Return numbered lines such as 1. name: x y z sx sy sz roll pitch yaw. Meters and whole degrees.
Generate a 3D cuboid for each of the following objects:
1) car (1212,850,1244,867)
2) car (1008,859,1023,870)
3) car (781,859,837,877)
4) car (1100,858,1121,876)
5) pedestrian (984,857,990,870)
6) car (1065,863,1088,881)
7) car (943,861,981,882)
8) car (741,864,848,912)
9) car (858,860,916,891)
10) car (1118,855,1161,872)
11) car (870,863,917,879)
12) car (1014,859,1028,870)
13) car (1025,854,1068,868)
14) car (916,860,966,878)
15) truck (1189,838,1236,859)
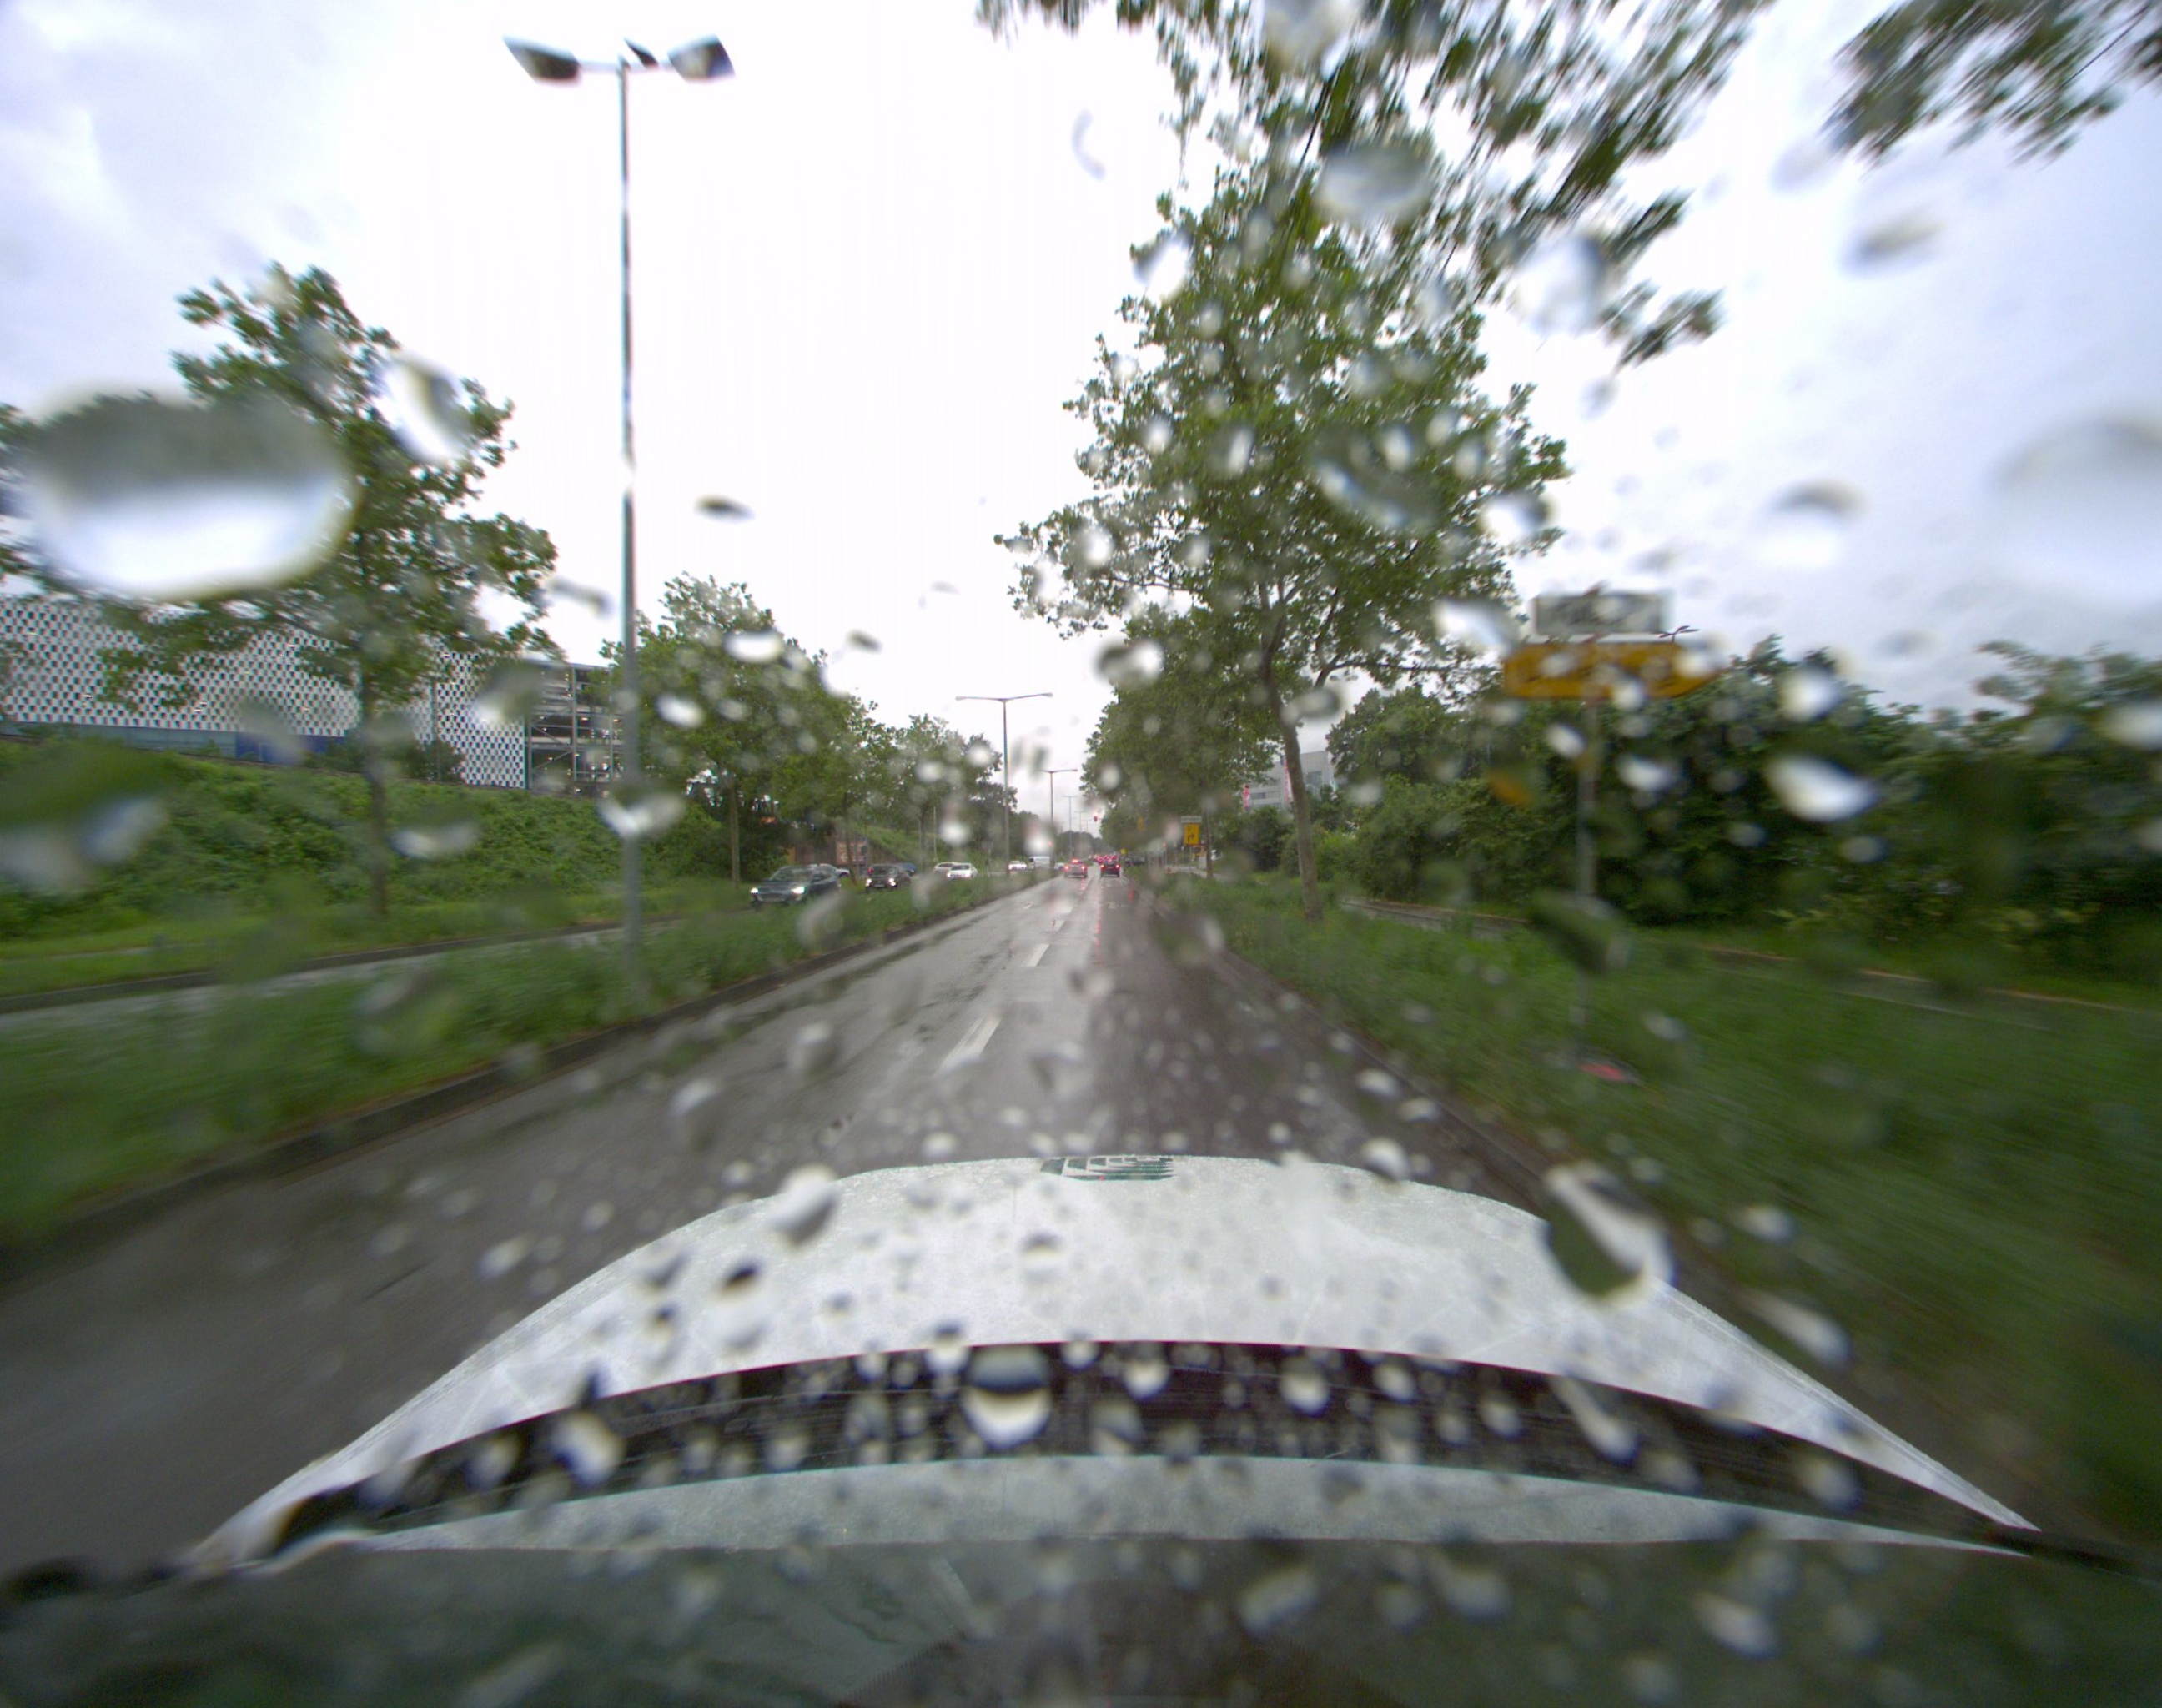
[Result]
1. car: 21.209 0.672 117.573 4.404 2.190 1.783 -4 1 -33
2. car: -9.718 1.490 120.552 1.706 1.530 4.002 -1 0 2
3. car: -24.926 1.283 74.743 4.494 1.589 1.860 -1 -1 -4
4. car: 2.641 1.142 73.364 1.789 1.537 4.389 1 -1 2
5. pedestrian: -12.851 1.335 111.471 0.528 1.786 0.676 0 -1 19
6. car: -0.348 1.461 67.868 1.683 1.433 4.576 0 -1 2
7. car: -8.678 1.275 59.634 1.924 1.445 4.659 0 0 2
8. car: -9.632 1.101 27.778 1.924 1.445 4.498 0 0 2
9. car: -9.666 1.050 40.927 1.924 1.445 3.708 0 0 1
10. car: 6.073 0.995 84.587 4.409 1.537 1.782 -3 2 -38
11. car: -19.026 1.734 82.707 4.397 1.537 1.786 0 -1 -28
12. car: -9.313 1.608 127.084 1.706 1.530 4.002 -1 0 2
13. car: -3.825 0.790 90.719 4.397 1.537 1.786 -1 -1 -28
14. car: -13.160 1.419 76.437 4.460 1.589 1.874 -2 -1 30
15. truck: 19.890 -0.867 122.870 7.079 3.054 2.618 -1 -1 -35
